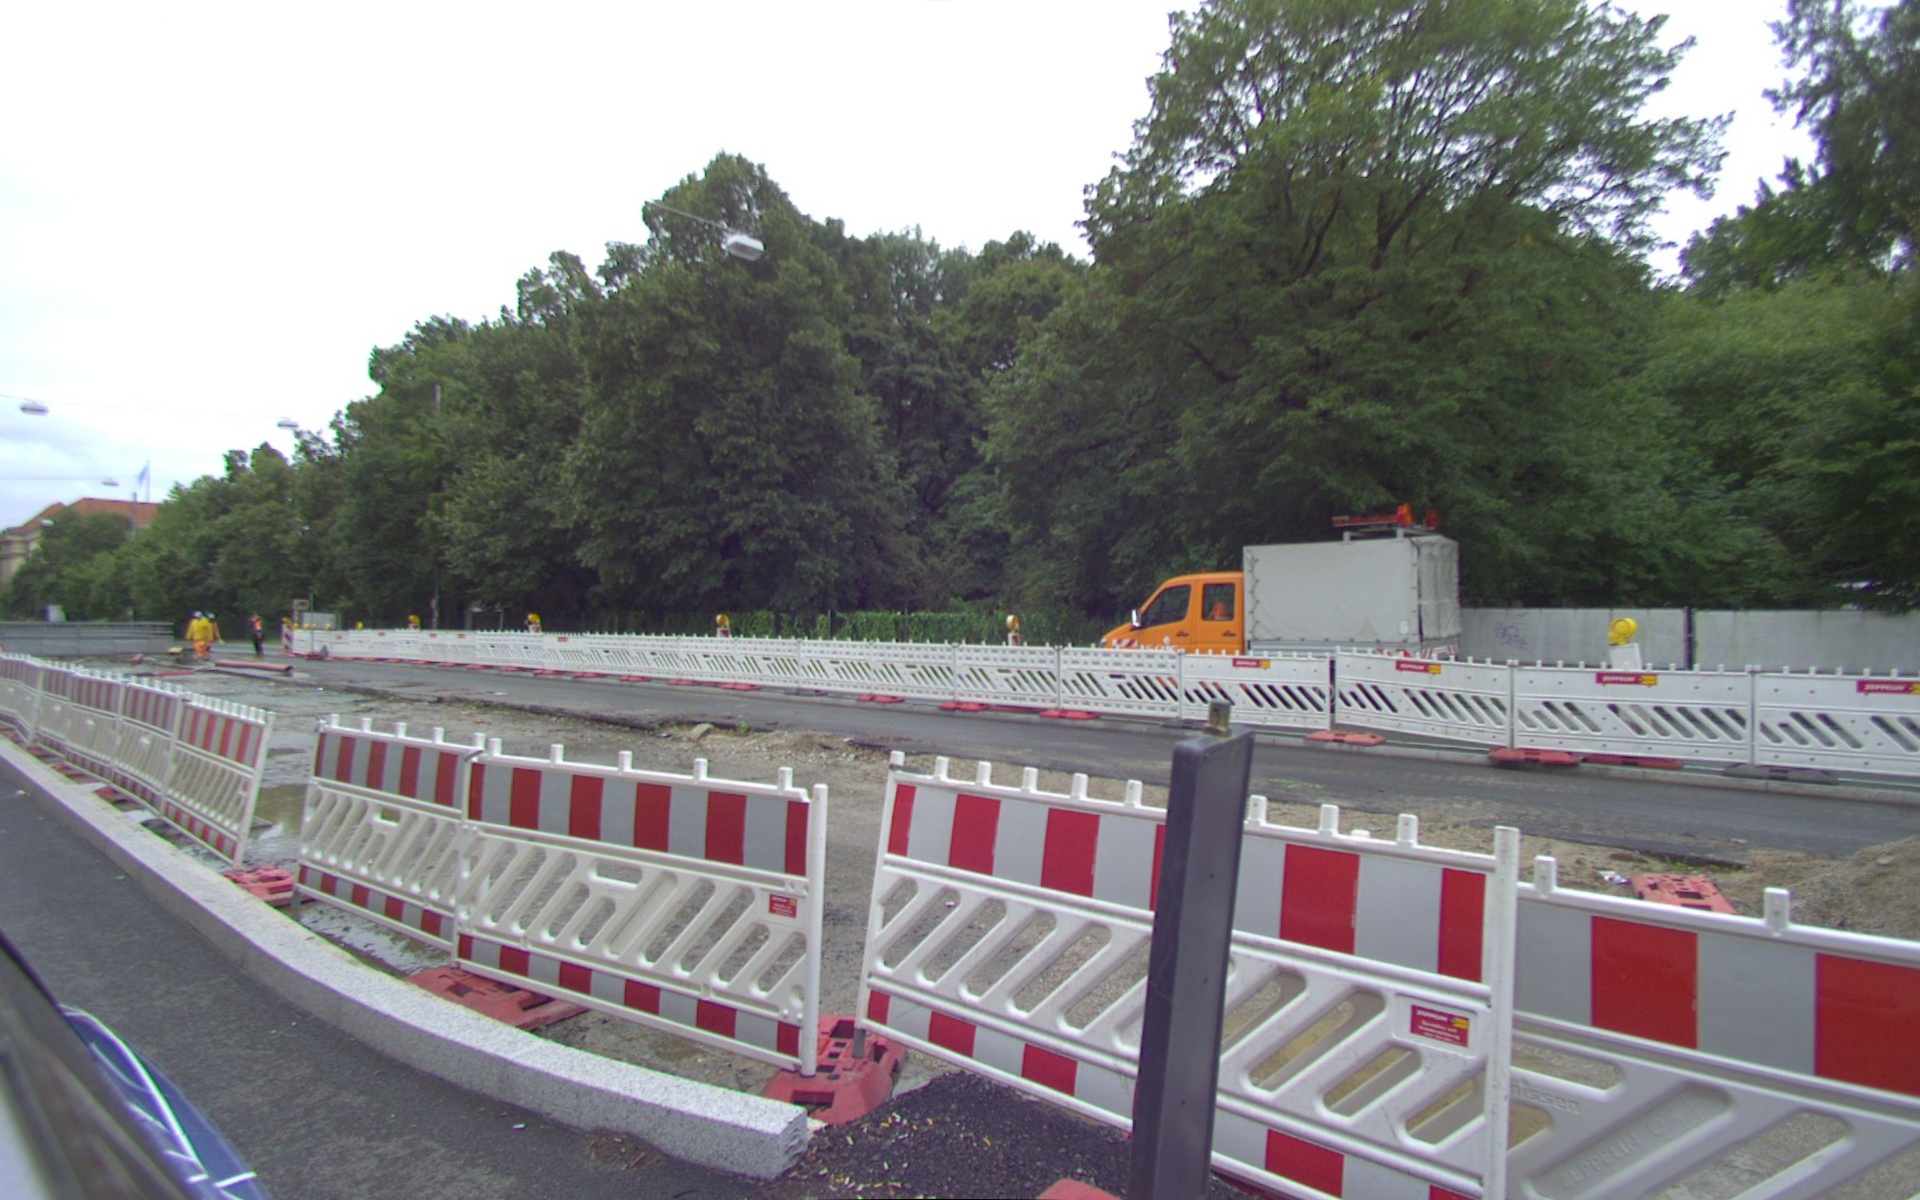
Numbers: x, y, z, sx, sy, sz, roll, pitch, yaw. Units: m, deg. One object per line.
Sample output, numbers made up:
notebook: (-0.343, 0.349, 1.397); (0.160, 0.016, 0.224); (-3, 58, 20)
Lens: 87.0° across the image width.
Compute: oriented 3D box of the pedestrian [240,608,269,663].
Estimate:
pedestrian: (-25.944, 1.304, 37.220); (0.657, 1.985, 0.808); (1, -2, -24)

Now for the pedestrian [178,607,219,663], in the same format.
pedestrian: (-25.634, 1.181, 34.084); (0.846, 1.850, 0.878); (1, -2, -18)

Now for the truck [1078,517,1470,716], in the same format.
truck: (5.164, 0.311, 17.513); (6.213, 2.871, 2.098); (-1, -3, 44)

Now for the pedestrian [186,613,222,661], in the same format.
pedestrian: (-27.797, 1.356, 37.228); (0.911, 1.701, 0.888); (-1, -3, 44)
